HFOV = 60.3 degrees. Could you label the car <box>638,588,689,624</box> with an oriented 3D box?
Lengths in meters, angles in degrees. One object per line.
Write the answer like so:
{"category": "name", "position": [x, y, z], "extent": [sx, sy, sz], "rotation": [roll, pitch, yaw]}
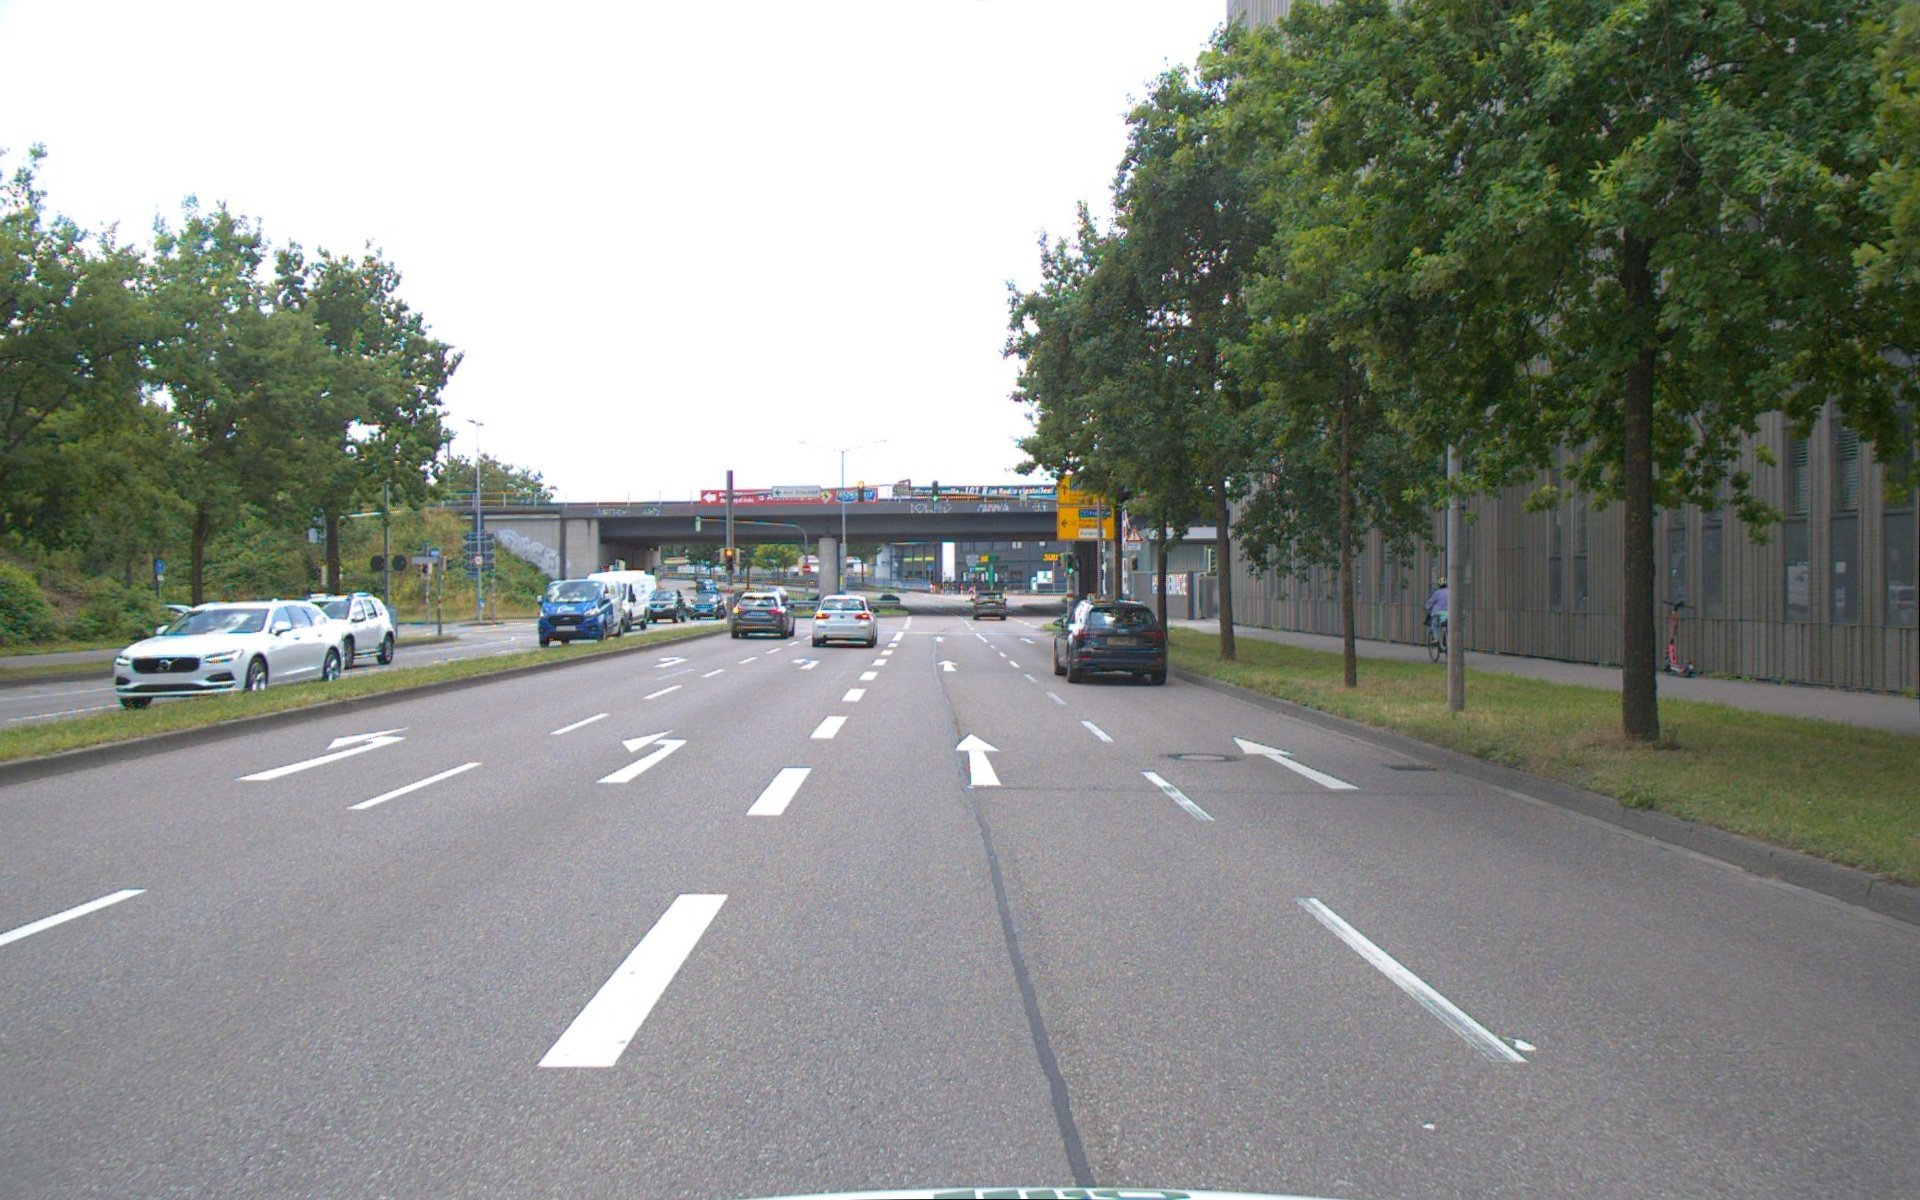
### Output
{"category": "car", "position": [-15.389, 0.301, 86.045], "extent": [1.953, 1.797, 4.218], "rotation": [-1, 0, -2]}

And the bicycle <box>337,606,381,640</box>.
{"category": "bicycle", "position": [-23.288, 0.882, 64.093], "extent": [0.805, 1.292, 2.393], "rotation": [1, 0, 0]}

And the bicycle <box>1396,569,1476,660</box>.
{"category": "bicycle", "position": [9.796, 0.283, 34.125], "extent": [0.705, 1.805, 2.531], "rotation": [-1, 0, -5]}

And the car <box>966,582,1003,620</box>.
{"category": "car", "position": [1.379, 0.047, 94.422], "extent": [1.953, 2.073, 4.712], "rotation": [-1, 0, -1]}

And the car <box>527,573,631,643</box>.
{"category": "car", "position": [-11.649, 0.200, 50.911], "extent": [2.146, 1.998, 5.191], "rotation": [-1, 1, -2]}

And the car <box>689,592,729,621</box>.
{"category": "car", "position": [-14.890, 0.369, 98.217], "extent": [1.769, 1.660, 4.391], "rotation": [-1, 0, -1]}

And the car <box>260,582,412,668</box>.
{"category": "car", "position": [-14.385, 0.530, 38.424], "extent": [1.953, 1.832, 4.407], "rotation": [-2, 1, -2]}

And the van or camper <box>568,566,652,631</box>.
{"category": "van or camper", "position": [-14.702, -0.100, 69.878], "extent": [2.304, 2.584, 7.061], "rotation": [0, 0, -2]}

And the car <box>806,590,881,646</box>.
{"category": "car", "position": [-3.297, 0.474, 47.576], "extent": [1.876, 1.439, 4.294], "rotation": [2, 0, -1]}

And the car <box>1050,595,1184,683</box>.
{"category": "car", "position": [2.808, 0.655, 30.589], "extent": [1.953, 1.414, 4.575], "rotation": [1, 1, -1]}

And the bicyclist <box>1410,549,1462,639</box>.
{"category": "bicyclist", "position": [9.793, -0.125, 34.063], "extent": [0.701, 1.800, 0.987], "rotation": [-1, 0, -5]}

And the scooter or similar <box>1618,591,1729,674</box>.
{"category": "scooter or similar", "position": [11.675, 0.501, 27.150], "extent": [0.690, 1.268, 2.479], "rotation": [-2, 0, -1]}

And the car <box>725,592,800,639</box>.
{"category": "car", "position": [-6.369, 0.467, 53.793], "extent": [1.953, 1.440, 4.831], "rotation": [1, 0, -1]}

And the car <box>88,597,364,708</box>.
{"category": "car", "position": [-10.846, 0.701, 24.908], "extent": [1.953, 1.456, 5.023], "rotation": [-1, 0, -1]}
